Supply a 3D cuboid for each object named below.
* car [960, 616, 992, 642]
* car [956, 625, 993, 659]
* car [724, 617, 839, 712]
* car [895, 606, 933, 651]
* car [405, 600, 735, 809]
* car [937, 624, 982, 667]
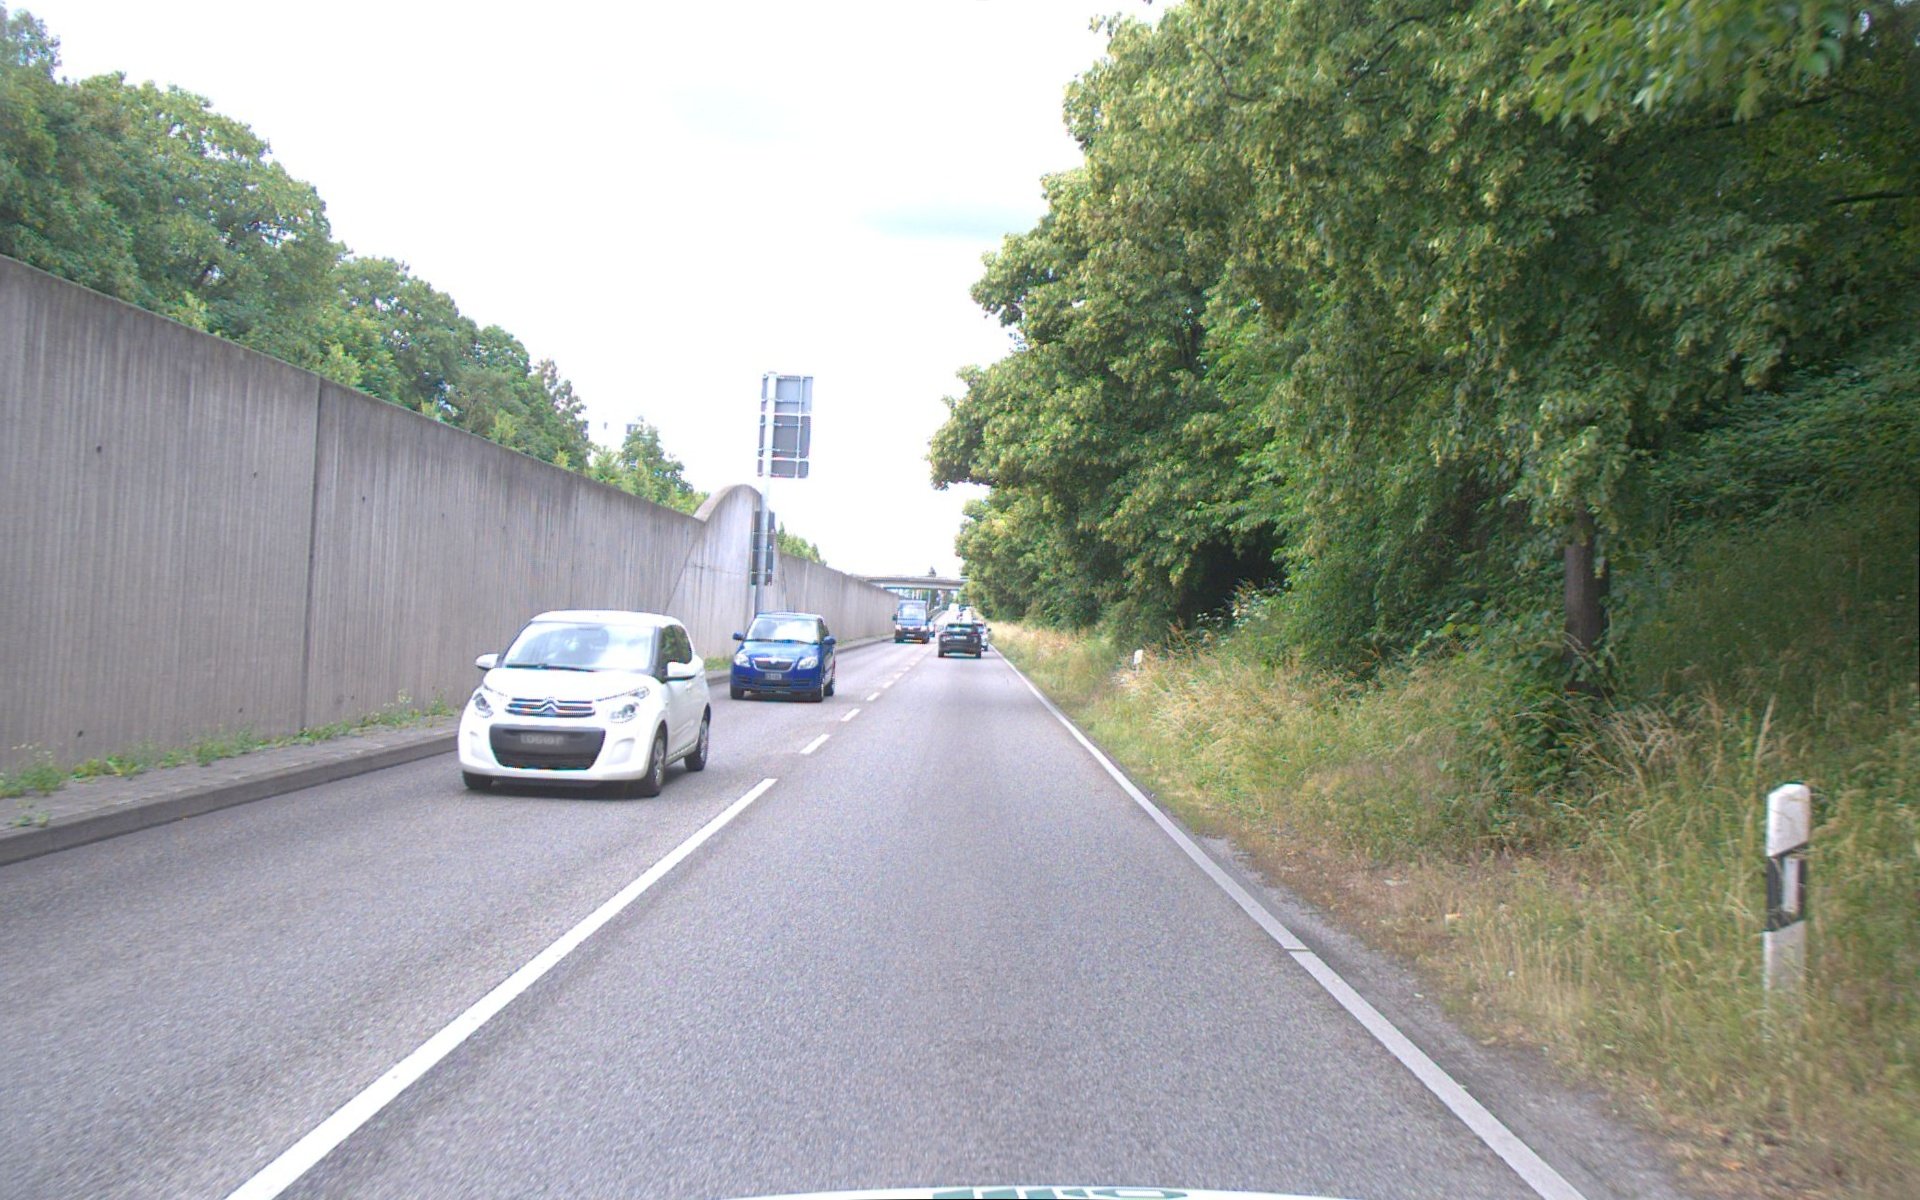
[{"bbox_3d":[1.032,1.921,107.445,1.829,1.516,4.255,5,-2,-1],"label":"car"},{"bbox_3d":[0.696,2.149,83.431,1.719,1.550,4.035,-2,-3,-1],"label":"car"},{"bbox_3d":[-3.161,1.121,29.963,1.732,1.522,4.206,2,-1,-2],"label":"car"},{"bbox_3d":[-2.833,1.814,103.287,2.066,2.677,7.416,2,-1,0],"label":"car"},{"bbox_3d":[-3.266,0.838,14.753,1.876,1.522,4.207,2,-1,0],"label":"car"},{"bbox_3d":[-0.047,1.872,66.833,1.719,1.550,4.034,0,-4,-1],"label":"car"}]
